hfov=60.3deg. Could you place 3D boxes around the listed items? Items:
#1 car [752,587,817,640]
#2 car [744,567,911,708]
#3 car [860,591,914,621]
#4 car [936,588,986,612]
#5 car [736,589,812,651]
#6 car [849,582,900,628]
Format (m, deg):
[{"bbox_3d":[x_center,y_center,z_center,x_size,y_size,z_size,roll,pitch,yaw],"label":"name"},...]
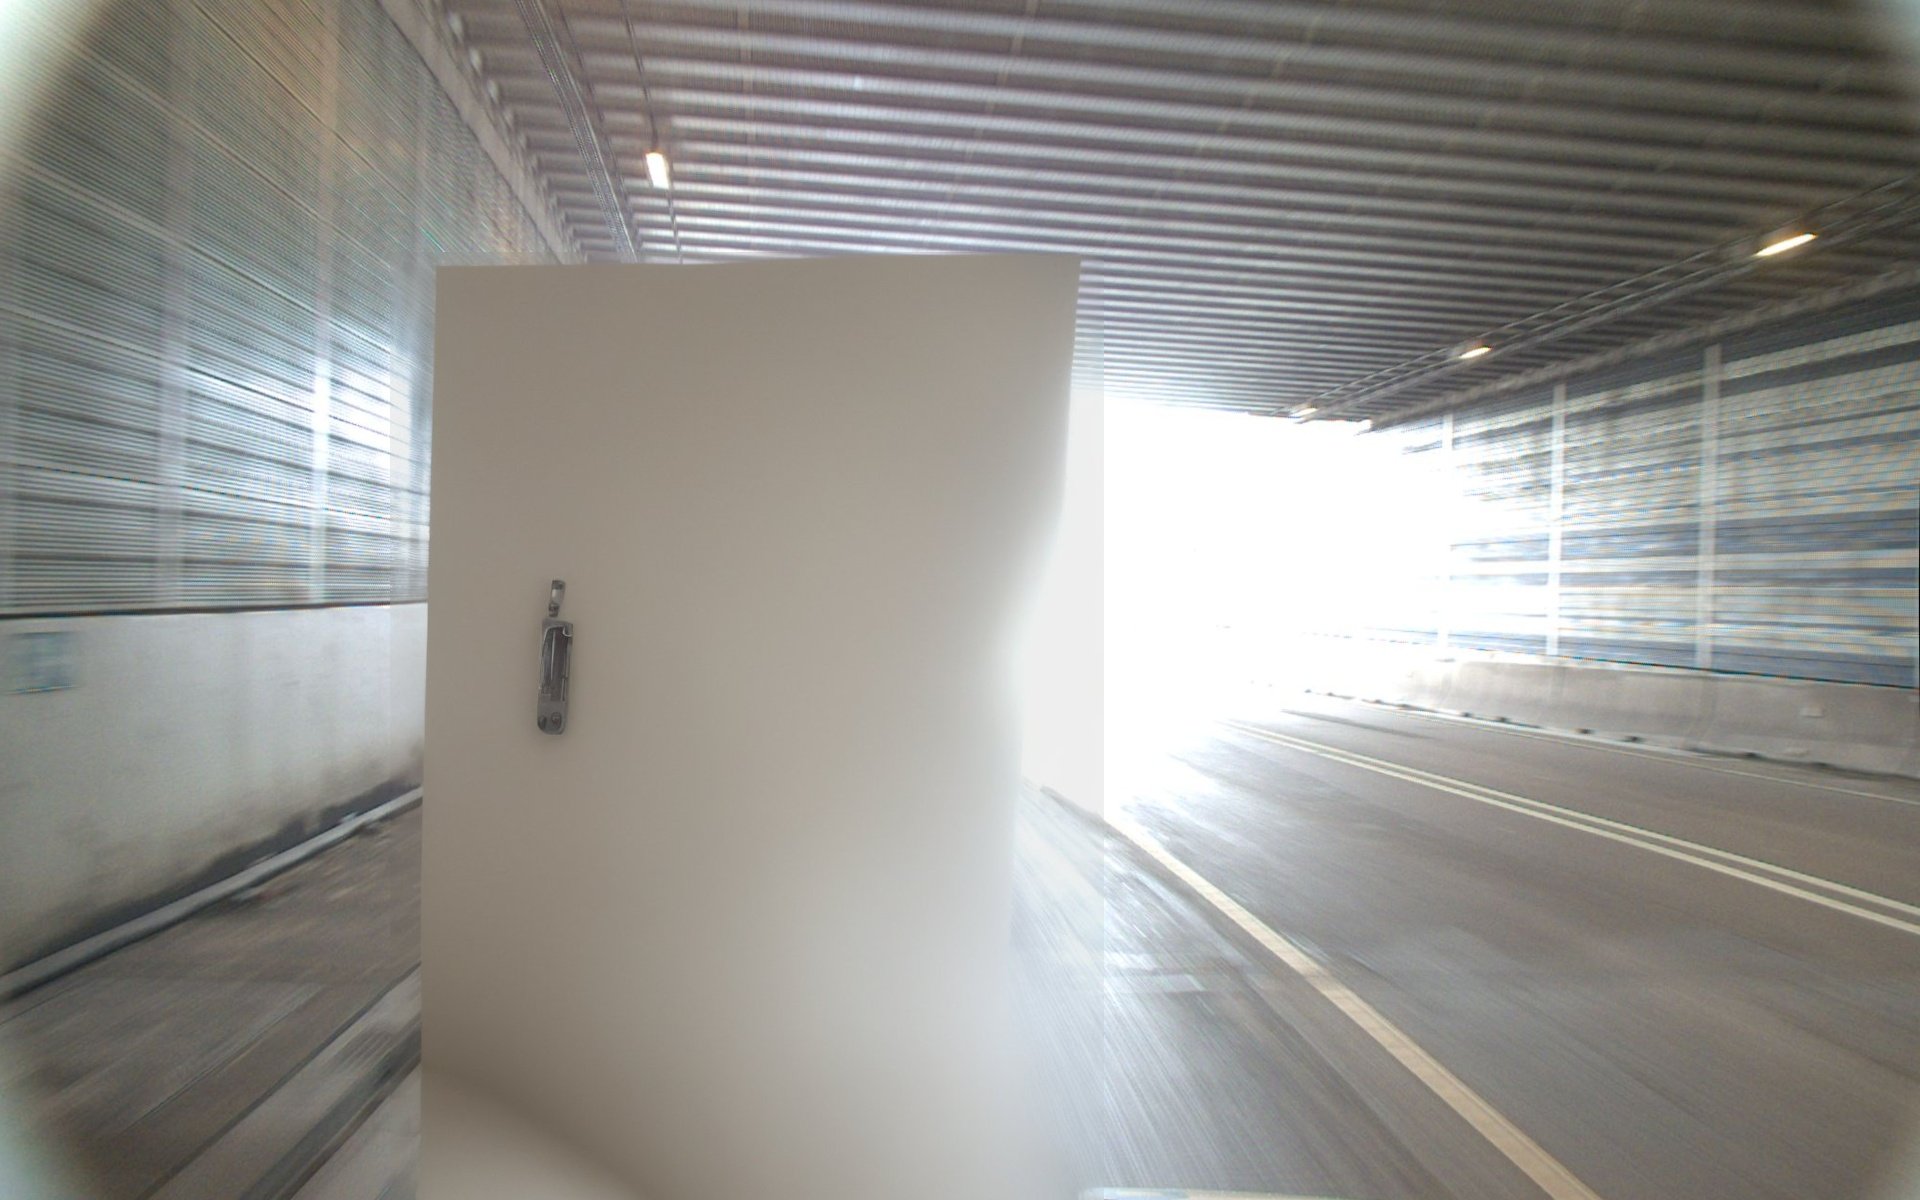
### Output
[{"bbox_3d":[-5.655,0.393,53.583,1.883,1.514,4.062,2,1,-4],"label":"car"},{"bbox_3d":[-2.146,0.487,25.188,1.957,1.891,5.626,0,0,-11],"label":"car"},{"bbox_3d":[-3.936,0.316,90.428,1.969,1.514,4.069,3,1,11],"label":"car"},{"bbox_3d":[0.077,-0.005,107.995,1.953,1.495,4.000,1,0,22],"label":"car"},{"bbox_3d":[-4.758,0.481,42.056,1.780,1.459,4.059,1,0,-7],"label":"car"},{"bbox_3d":[-3.840,0.213,73.794,1.955,1.892,3.995,3,0,-6],"label":"car"}]
